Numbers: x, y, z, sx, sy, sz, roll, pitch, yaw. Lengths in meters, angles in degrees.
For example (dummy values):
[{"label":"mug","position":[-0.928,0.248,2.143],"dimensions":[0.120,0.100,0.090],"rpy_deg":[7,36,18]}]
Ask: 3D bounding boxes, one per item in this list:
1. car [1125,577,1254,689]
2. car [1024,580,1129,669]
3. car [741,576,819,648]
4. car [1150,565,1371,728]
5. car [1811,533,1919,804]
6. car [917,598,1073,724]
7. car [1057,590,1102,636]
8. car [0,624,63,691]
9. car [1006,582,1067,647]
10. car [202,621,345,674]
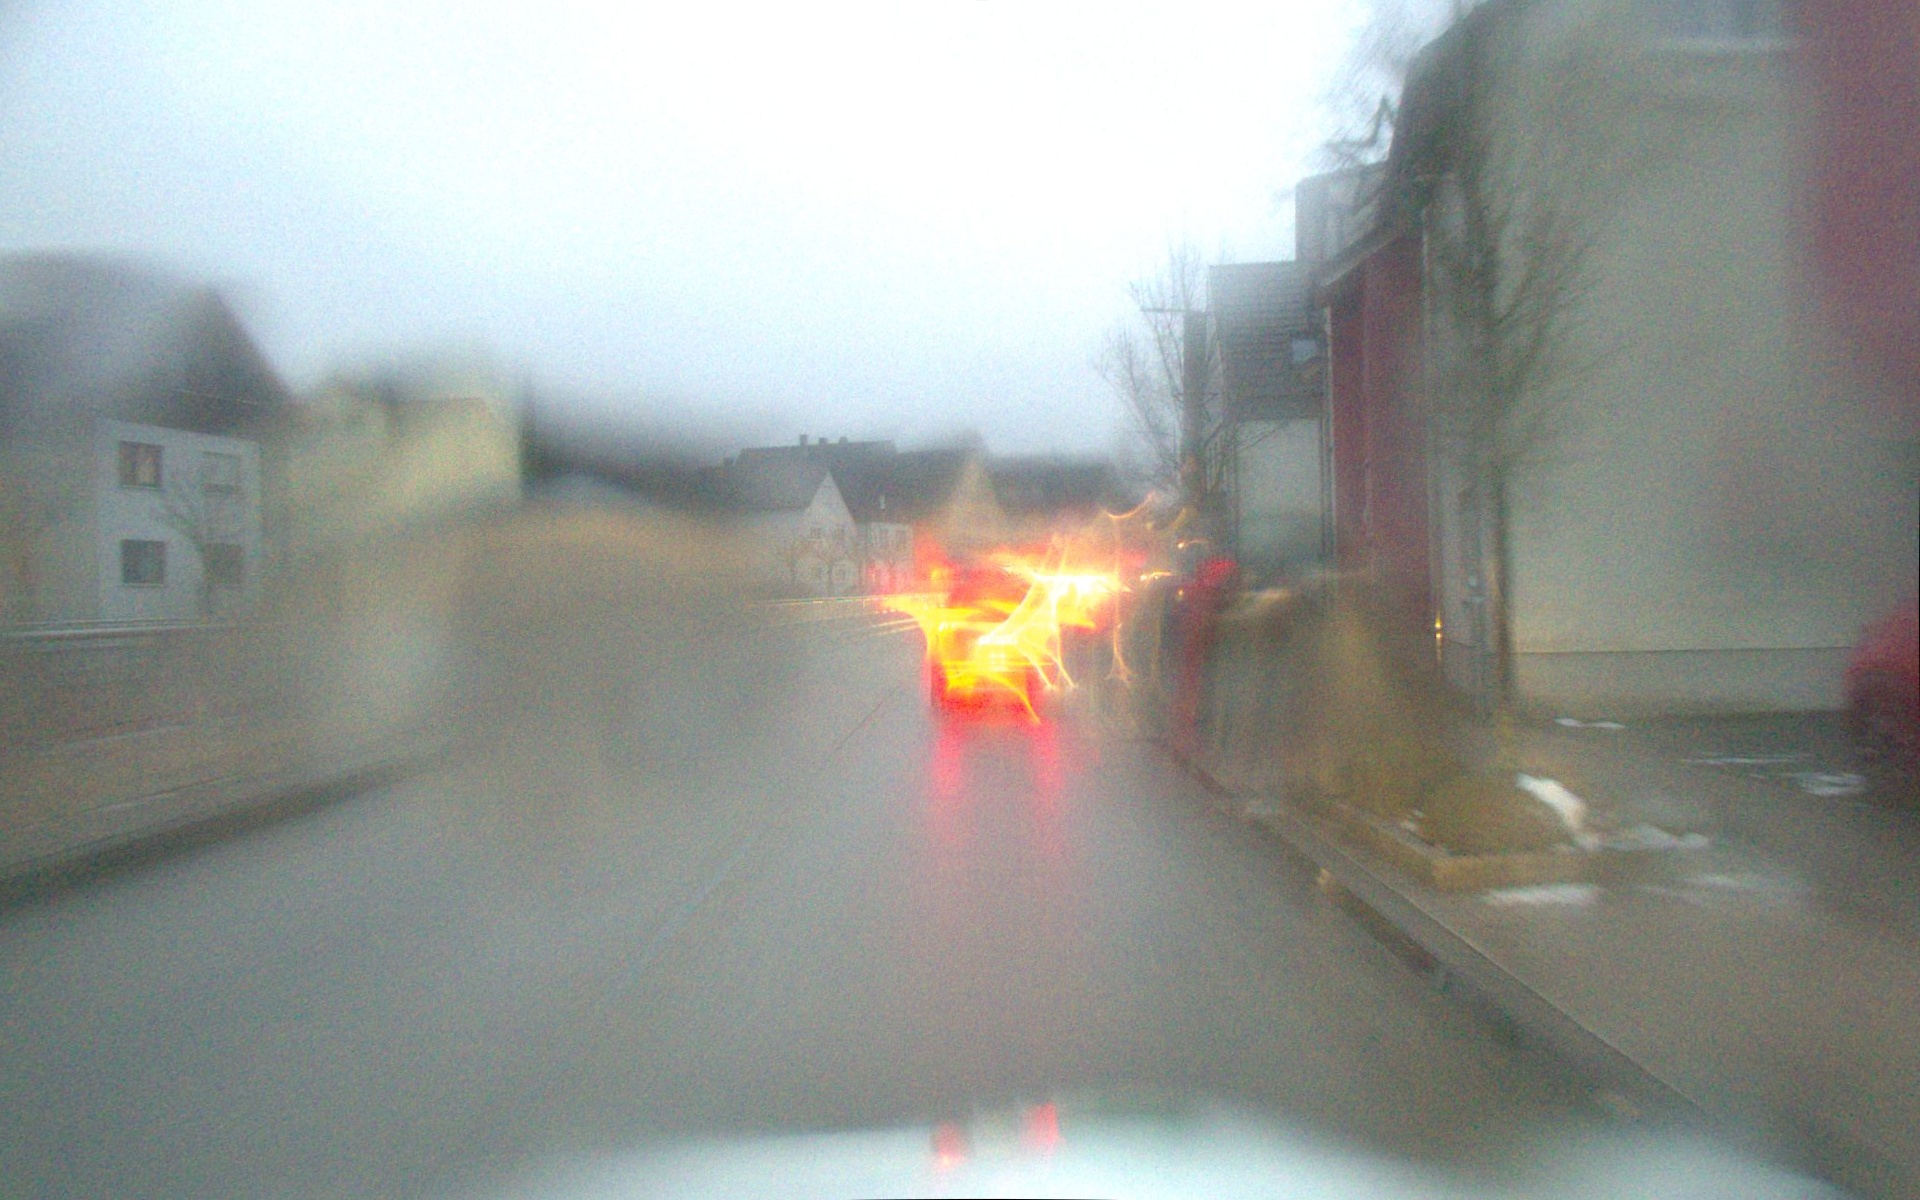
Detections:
[{"label":"car","position":[3.757,0.503,27.537],"dimensions":[1.951,1.699,4.003],"rpy_deg":[-1,0,6]},{"label":"car","position":[2.334,0.456,33.970],"dimensions":[1.952,1.709,4.001],"rpy_deg":[0,0,1]},{"label":"car","position":[-5.440,0.375,50.390],"dimensions":[1.953,2.049,3.999],"rpy_deg":[-1,-1,-1]},{"label":"car","position":[3.433,0.489,19.654],"dimensions":[1.952,1.699,4.001],"rpy_deg":[-1,0,1]},{"label":"car","position":[6.841,0.397,9.499],"dimensions":[1.750,1.669,3.568],"rpy_deg":[-2,1,-7]},{"label":"car","position":[0.467,0.773,22.953],"dimensions":[1.952,1.552,4.000],"rpy_deg":[-1,0,1]},{"label":"car","position":[5.626,0.612,77.533],"dimensions":[1.951,2.049,4.002],"rpy_deg":[-1,-1,6]},{"label":"car","position":[-20.831,1.214,34.227],"dimensions":[1.951,1.330,4.116],"rpy_deg":[0,0,7]},{"label":"car","position":[2.610,0.493,55.681],"dimensions":[1.952,2.049,4.002],"rpy_deg":[-1,-1,3]},{"label":"car","position":[-19.458,1.317,47.074],"dimensions":[1.951,1.330,4.116],"rpy_deg":[0,0,7]}]
